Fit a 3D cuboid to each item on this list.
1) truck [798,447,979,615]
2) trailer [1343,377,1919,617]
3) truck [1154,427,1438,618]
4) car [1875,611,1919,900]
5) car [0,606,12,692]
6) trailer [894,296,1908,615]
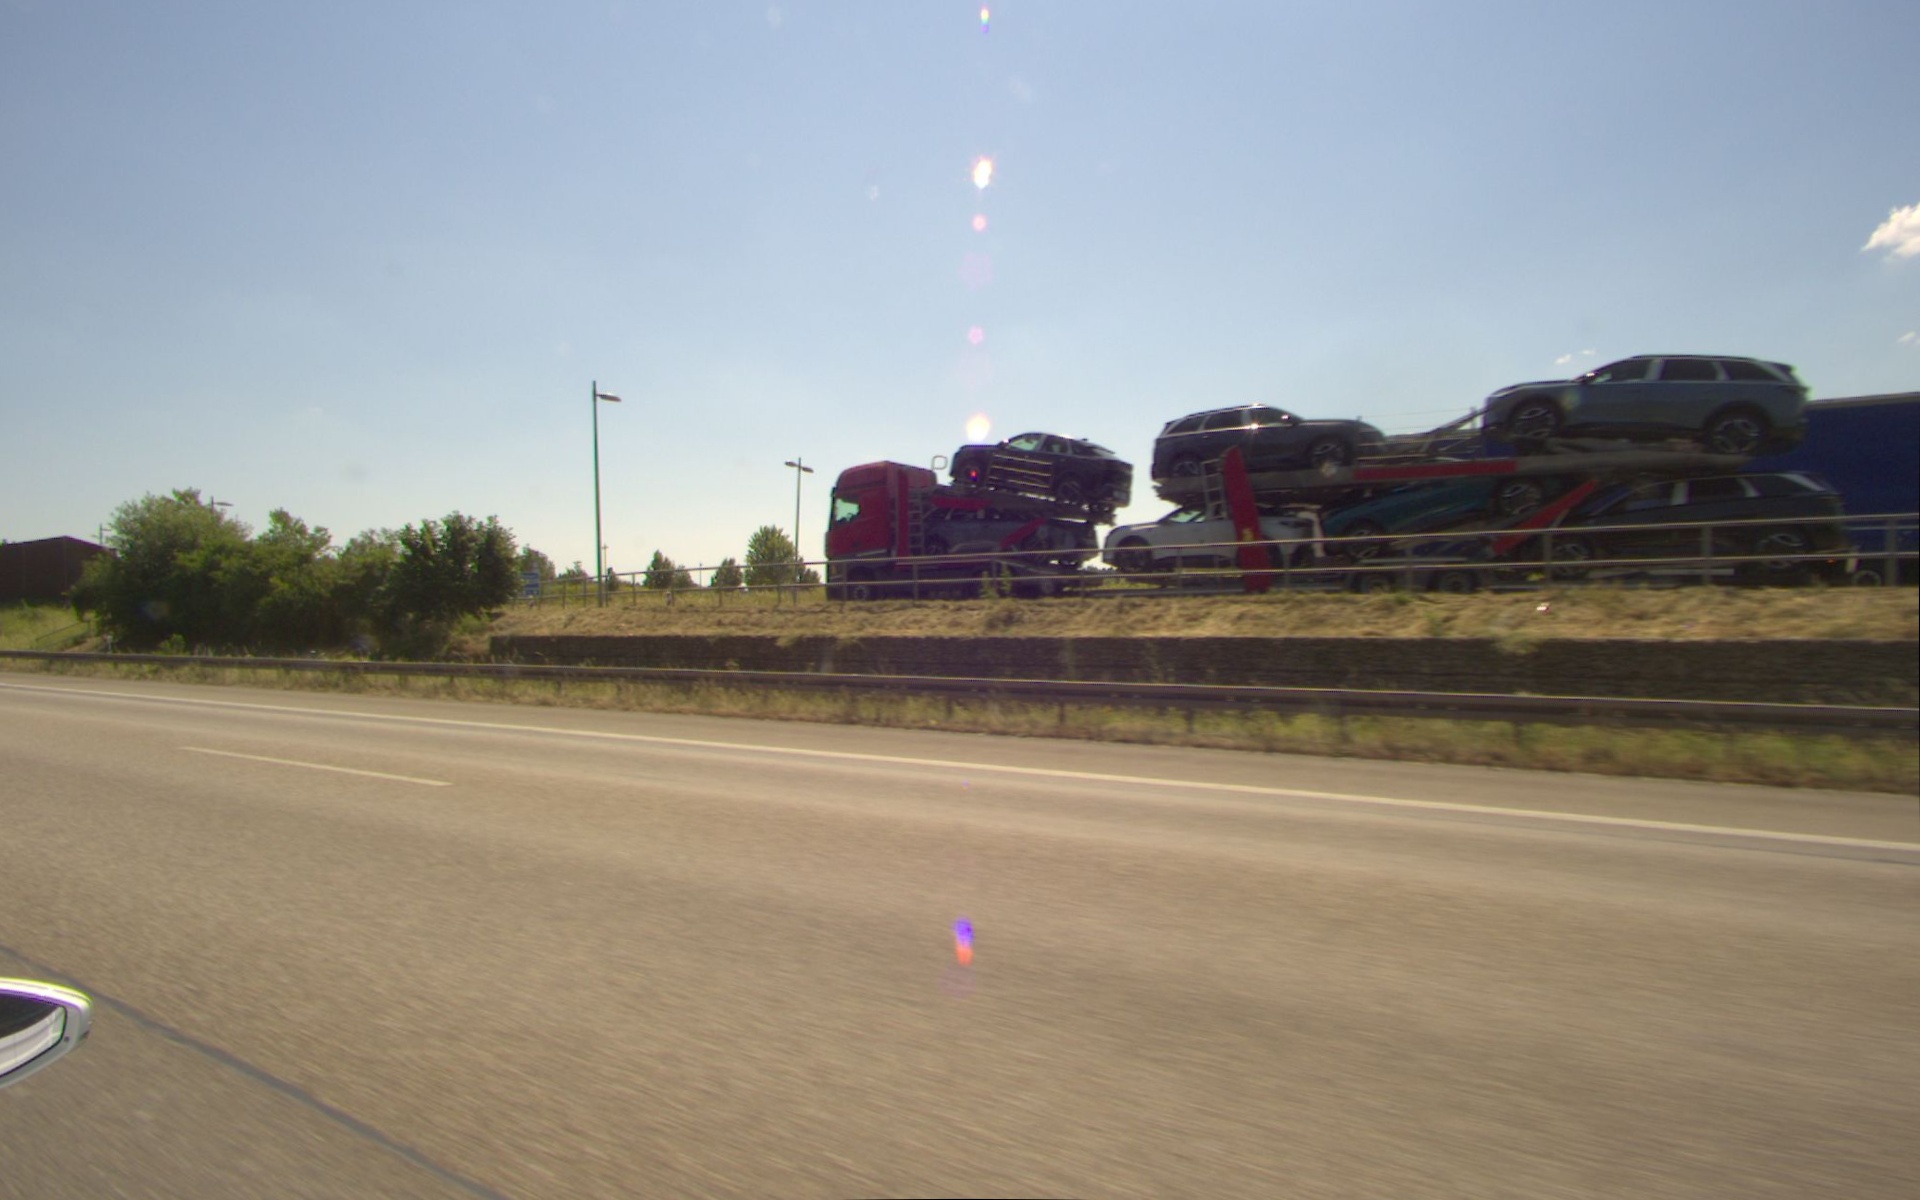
[{"bbox_3d":[-1.846,-1.620,26.043,3.943,3.875,2.598,-1,-2,32],"label":"truck"},{"bbox_3d":[15.694,-1.844,20.919,14.052,4.134,3.048,-1,-2,32],"label":"trailer"},{"bbox_3d":[8.455,-1.693,25.381,6.306,4.134,3.048,-1,-2,32],"label":"truck"},{"bbox_3d":[7.393,0.843,4.508,4.520,1.657,1.865,-1,-2,32],"label":"car"},{"bbox_3d":[-22.951,1.106,22.016,4.116,1.862,1.948,-1,0,30],"label":"car"},{"bbox_3d":[6.739,-2.013,20.527,18.161,4.311,2.601,-2,-2,33],"label":"trailer"}]
